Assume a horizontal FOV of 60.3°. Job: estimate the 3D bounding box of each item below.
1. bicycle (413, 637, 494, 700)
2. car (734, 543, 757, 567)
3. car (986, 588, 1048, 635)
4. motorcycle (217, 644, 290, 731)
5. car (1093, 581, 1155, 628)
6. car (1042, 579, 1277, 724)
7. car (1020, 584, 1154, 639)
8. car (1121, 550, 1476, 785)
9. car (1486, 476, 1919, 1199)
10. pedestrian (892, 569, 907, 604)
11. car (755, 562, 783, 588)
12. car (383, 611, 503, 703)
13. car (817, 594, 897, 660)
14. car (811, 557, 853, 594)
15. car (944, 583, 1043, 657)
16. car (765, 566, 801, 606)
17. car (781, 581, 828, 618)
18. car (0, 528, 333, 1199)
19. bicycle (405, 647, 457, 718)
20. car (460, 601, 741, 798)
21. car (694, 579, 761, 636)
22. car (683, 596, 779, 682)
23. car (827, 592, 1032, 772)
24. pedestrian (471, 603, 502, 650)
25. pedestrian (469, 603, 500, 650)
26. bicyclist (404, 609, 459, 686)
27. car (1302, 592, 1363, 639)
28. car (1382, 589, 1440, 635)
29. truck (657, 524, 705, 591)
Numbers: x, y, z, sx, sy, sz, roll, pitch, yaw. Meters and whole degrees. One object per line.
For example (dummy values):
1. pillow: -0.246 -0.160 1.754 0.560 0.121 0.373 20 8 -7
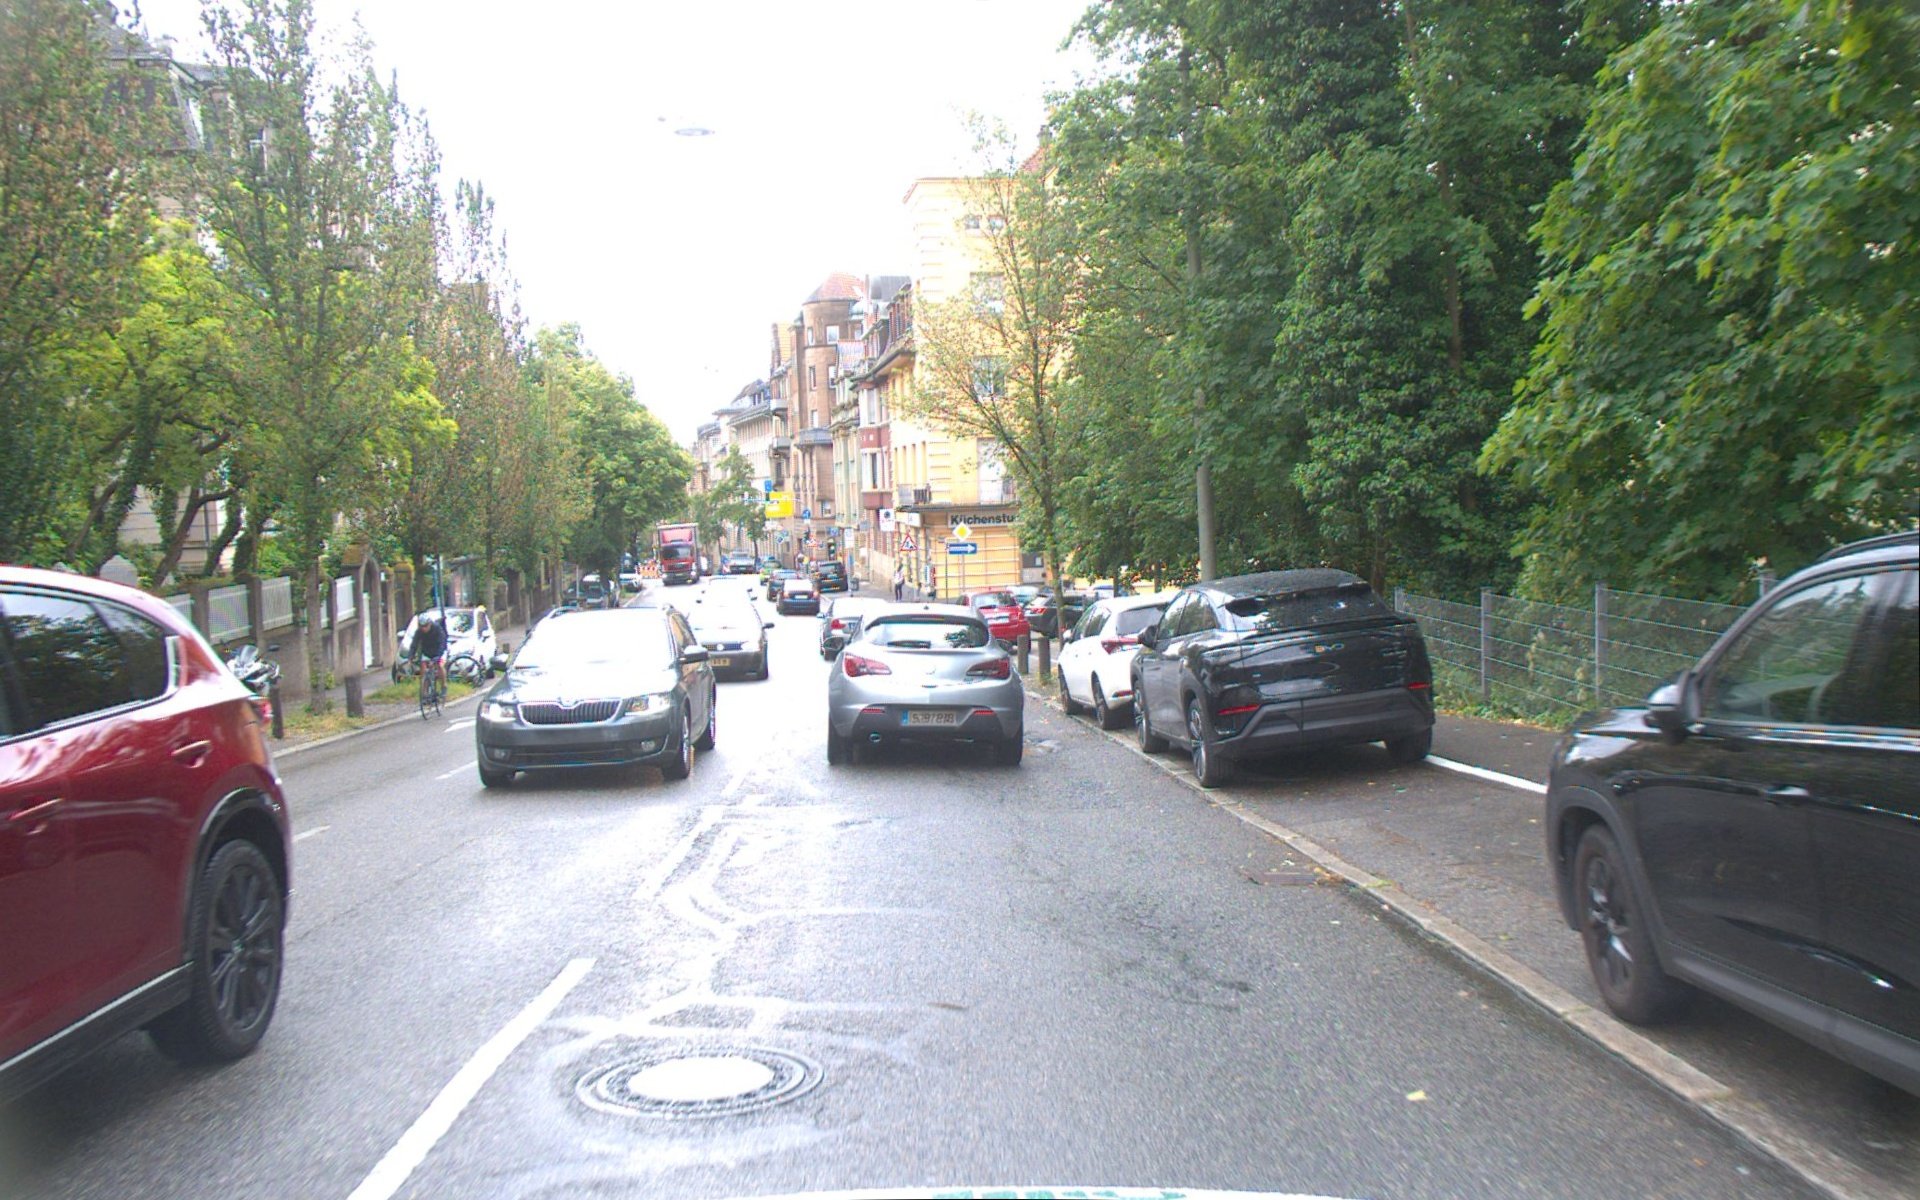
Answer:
1. bicycle: -10.273 1.383 33.575 1.437 1.140 0.379 -5 1 -12
2. car: -18.263 -3.803 140.761 1.750 1.887 3.989 -1 -1 -11
3. car: 1.986 0.356 56.722 1.738 1.454 3.789 0 2 8
4. motorcycle: -10.169 1.233 23.873 0.641 1.141 2.146 0 0 -14
5. car: 5.795 0.126 58.053 1.738 1.454 3.790 0 2 12
6. car: 2.329 0.601 20.487 1.938 1.477 4.108 -4 0 -6
7. car: 3.792 0.352 49.706 3.703 1.455 1.778 3 -1 -9
8. car: 2.776 0.528 14.711 1.937 1.637 4.482 -4 0 -3
9. car: 3.113 0.510 4.418 1.784 1.712 4.803 -4 0 0
10. pedestrian: -2.711 -0.619 73.745 0.601 1.522 0.552 -1 3 -5
11. car: -11.855 -1.540 102.724 1.609 1.563 3.710 -1 0 -8
12. car: -11.123 1.178 35.846 1.755 1.679 4.187 -5 1 -9
13. car: -2.460 0.616 38.705 1.742 1.455 3.781 0 0 -6
14. car: -6.998 -1.307 90.316 1.957 1.717 3.994 -7 1 -7
15. car: 0.745 0.468 39.492 1.781 1.492 3.995 -6 0 -6
16. car: -8.717 -0.713 81.313 1.609 1.718 3.712 -1 4 -8
17. car: -6.231 -0.041 66.097 1.734 1.439 3.710 0 1 -8
18. car: -3.178 0.686 3.921 1.809 1.611 4.277 -3 0 -2
19. bicycle: -8.293 1.275 25.975 0.641 0.999 2.146 0 0 -14
20. car: -3.150 0.792 15.338 1.703 1.499 4.280 -2 0 -1
21. car: -7.353 0.212 52.677 1.787 1.679 3.997 -3 1 -4
22. car: -4.320 0.715 31.668 1.629 1.473 3.988 -2 0 -6
23. car: -0.373 0.708 16.496 1.779 1.454 3.998 -1 1 -3
24. pedestrian: -14.599 0.804 51.016 0.693 1.366 0.612 -5 1 -5
25. pedestrian: -14.460 0.805 50.297 0.693 1.366 0.612 -5 1 -5
26. bicyclist: -8.338 0.736 26.139 0.758 1.190 1.078 0 0 -15
27. car: 13.296 0.527 58.940 1.739 1.454 3.788 0 2 19
28. car: 16.225 0.393 59.407 1.739 1.454 3.788 0 2 19
29. truck: -19.227 -3.045 113.982 2.739 4.202 10.830 -5 3 -9
